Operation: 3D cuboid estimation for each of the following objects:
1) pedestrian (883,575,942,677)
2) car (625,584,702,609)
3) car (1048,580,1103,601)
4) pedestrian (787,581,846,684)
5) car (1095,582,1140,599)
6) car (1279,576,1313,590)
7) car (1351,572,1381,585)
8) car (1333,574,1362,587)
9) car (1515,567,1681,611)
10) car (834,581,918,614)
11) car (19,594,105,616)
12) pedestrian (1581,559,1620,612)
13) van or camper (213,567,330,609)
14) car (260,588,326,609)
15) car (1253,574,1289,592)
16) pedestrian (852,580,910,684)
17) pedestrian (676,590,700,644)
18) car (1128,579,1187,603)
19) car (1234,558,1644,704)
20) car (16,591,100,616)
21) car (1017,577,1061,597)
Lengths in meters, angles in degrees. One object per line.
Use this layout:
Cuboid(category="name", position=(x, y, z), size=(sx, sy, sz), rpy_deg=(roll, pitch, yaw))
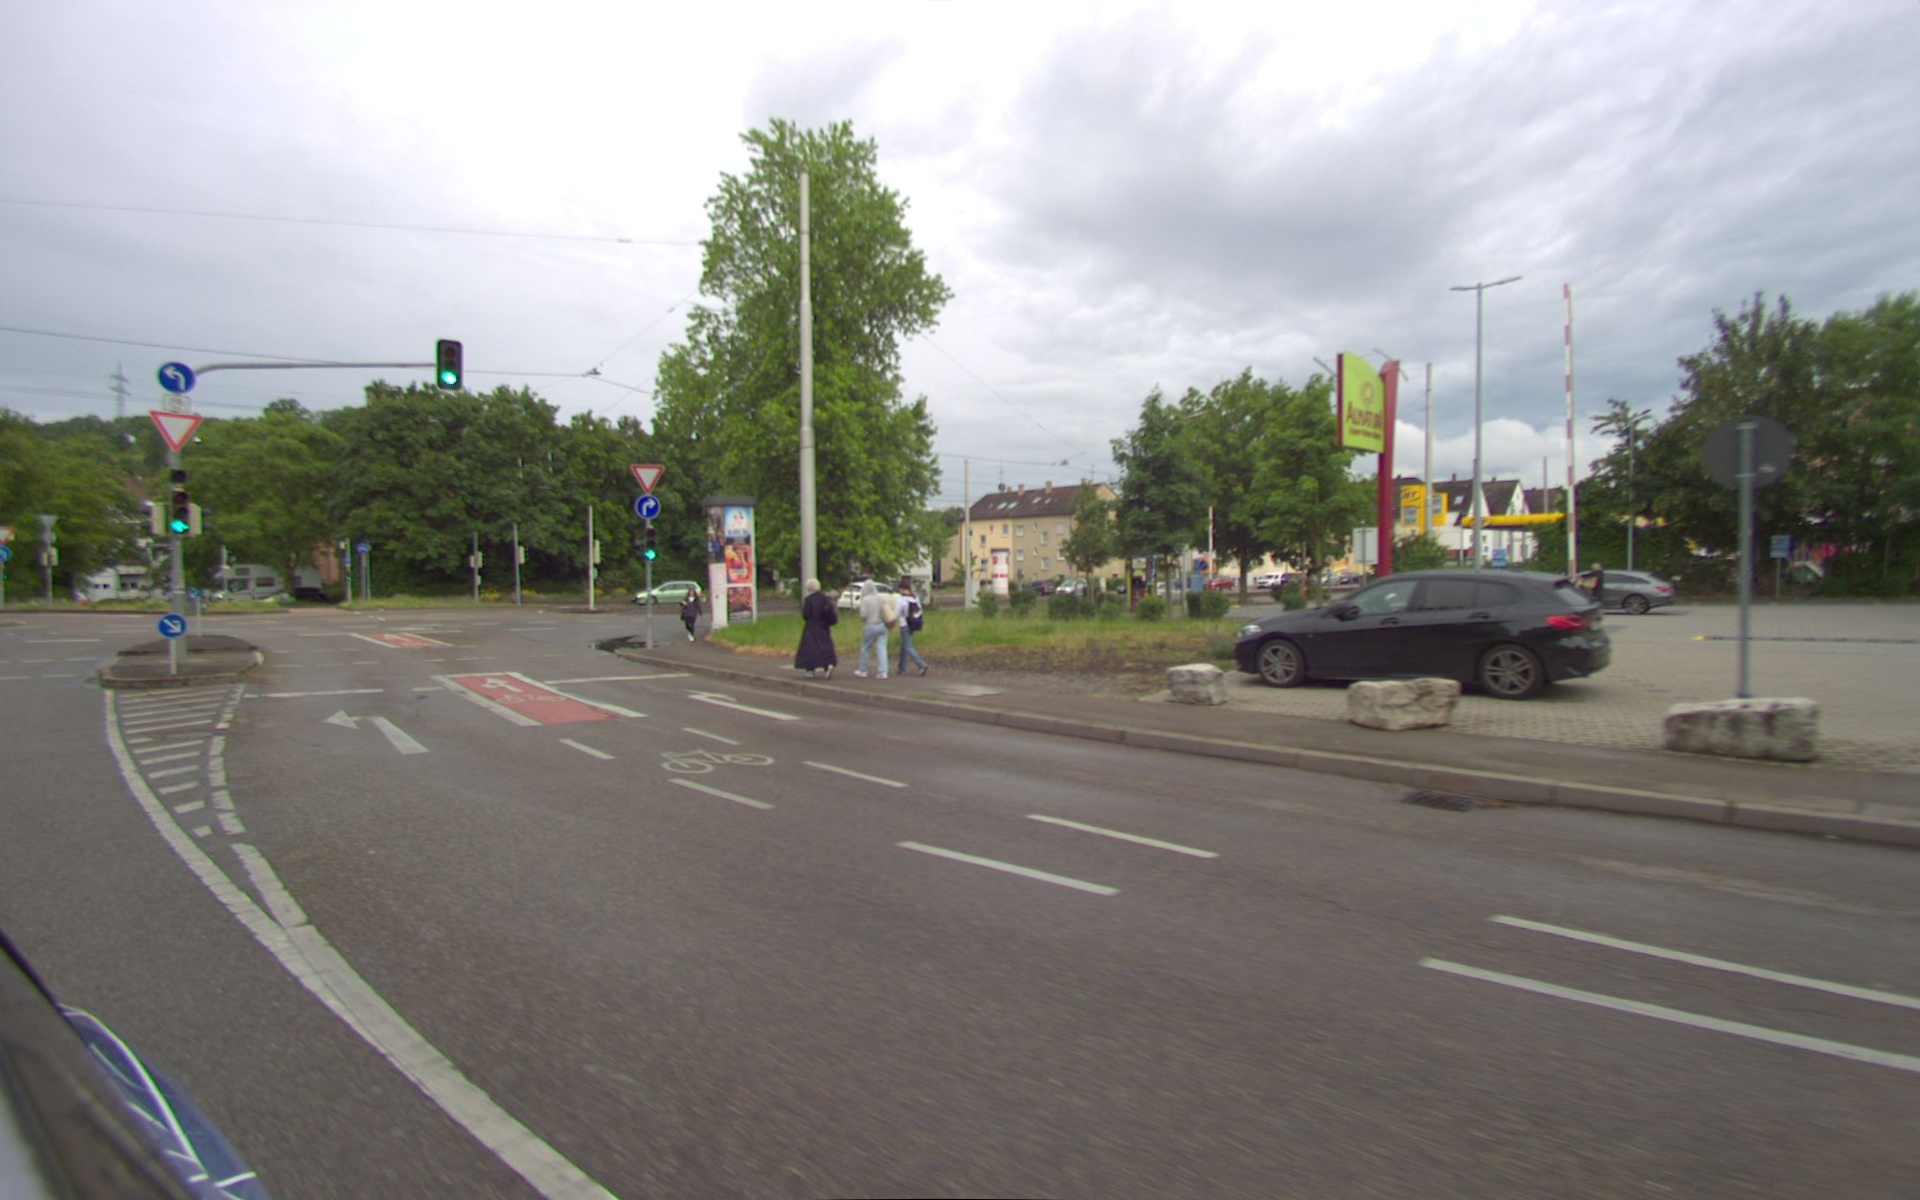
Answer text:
Cuboid(category="pedestrian", position=(-0.787, 0.420, 16.734), size=(0.647, 1.614, 0.679), rpy_deg=(-3, 1, -35))
Cuboid(category="car", position=(-18.252, -0.234, 62.403), size=(4.135, 1.460, 1.892), rpy_deg=(-1, 1, -41))
Cuboid(category="car", position=(9.020, -0.719, 78.641), size=(4.136, 1.435, 1.892), rpy_deg=(-4, 2, -41))
Cuboid(category="pedestrian", position=(-2.351, 0.514, 16.530), size=(0.647, 1.614, 0.679), rpy_deg=(-3, 1, -35))
Cuboid(category="car", position=(15.045, -0.904, 96.349), size=(4.370, 1.545, 1.845), rpy_deg=(-2, 0, -41))
Cuboid(category="car", position=(38.464, -1.948, 115.879), size=(4.071, 1.523, 1.695), rpy_deg=(-3, 1, -39))
Cuboid(category="car", position=(50.802, -2.683, 126.674), size=(4.134, 1.475, 1.609), rpy_deg=(-3, 1, -39))
Cuboid(category="car", position=(47.253, -2.341, 123.321), size=(3.731, 1.412, 1.609), rpy_deg=(-3, 1, -39))
Cuboid(category="car", position=(20.912, -0.359, 33.271), size=(4.378, 1.355, 1.751), rpy_deg=(0, 1, 42))
Cuboid(category="car", position=(-3.997, -0.130, 48.627), size=(1.693, 1.493, 3.943), rpy_deg=(2, 2, 43))
Cuboid(category="car", position=(-57.001, 0.281, 64.273), size=(1.678, 1.364, 3.943), rpy_deg=(0, 1, 43))
Cuboid(category="pedestrian", position=(20.110, -0.441, 31.778), size=(0.747, 1.609, 0.805), rpy_deg=(-3, 1, -40))
Cuboid(category="van or camper", position=(-46.959, -0.810, 69.134), size=(6.336, 2.775, 2.433), rpy_deg=(-1, 1, -44))
Cuboid(category="car", position=(-44.486, -0.110, 67.551), size=(1.678, 1.364, 3.423), rpy_deg=(0, 1, 43))
Cuboid(category="car", position=(34.734, -1.905, 112.987), size=(4.453, 1.770, 1.856), rpy_deg=(-3, 1, -42))
Cuboid(category="pedestrian", position=(-1.275, 0.498, 16.323), size=(0.597, 1.614, 0.679), rpy_deg=(-3, 1, -35))
Cuboid(category="pedestrian", position=(-8.080, 0.491, 30.050), size=(0.583, 1.543, 0.670), rpy_deg=(-3, 1, -11))
Cuboid(category="car", position=(12.724, -0.598, 65.137), size=(1.593, 1.447, 4.362), rpy_deg=(2, 2, 44))
Cuboid(category="car", position=(5.724, 0.299, 12.427), size=(4.234, 1.459, 1.728), rpy_deg=(0, 3, 42))
Cuboid(category="car", position=(-58.590, 0.204, 65.775), size=(1.678, 1.560, 3.943), rpy_deg=(0, 1, 43))
Cuboid(category="car", position=(7.693, -1.233, 99.318), size=(1.849, 1.668, 4.297), rpy_deg=(-4, 0, -36))
